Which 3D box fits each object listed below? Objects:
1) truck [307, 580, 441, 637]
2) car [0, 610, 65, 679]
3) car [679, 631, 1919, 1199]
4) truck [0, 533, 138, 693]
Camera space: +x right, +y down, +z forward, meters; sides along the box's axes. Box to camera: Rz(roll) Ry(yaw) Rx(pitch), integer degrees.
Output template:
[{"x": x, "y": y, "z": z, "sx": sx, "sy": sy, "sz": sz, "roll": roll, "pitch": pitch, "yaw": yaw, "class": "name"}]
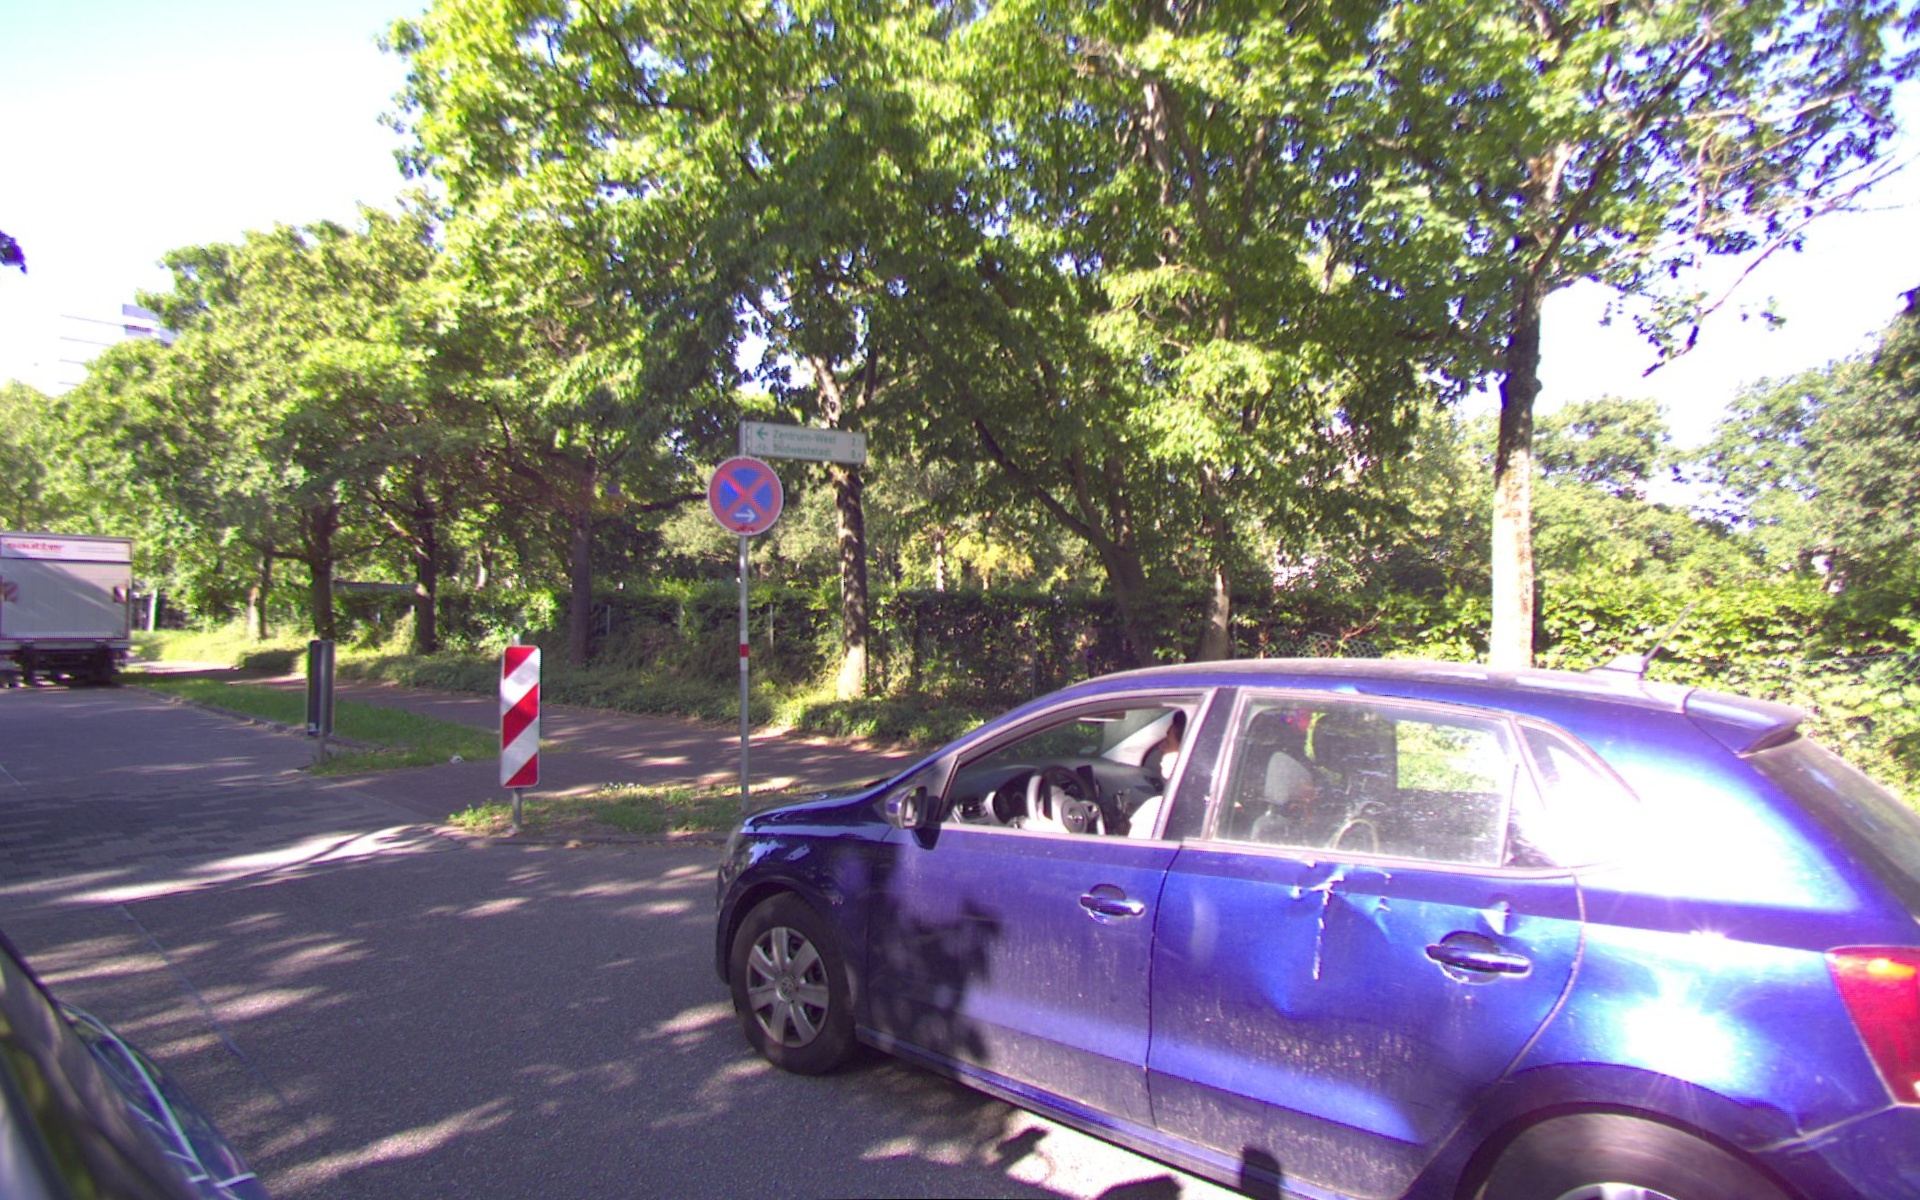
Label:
[{"x": -22.725, "y": 0.390, "z": 39.335, "sx": 2.203, "sy": 2.029, "sz": 3.946, "roll": -2, "pitch": -3, "yaw": 40, "class": "truck"}, {"x": -31.456, "y": 1.426, "z": 33.397, "sx": 6.582, "sy": 2.112, "sz": 2.097, "roll": -1, "pitch": -2, "yaw": 42, "class": "car"}, {"x": 0.866, "y": 0.830, "z": 3.116, "sx": 3.650, "sy": 1.437, "sz": 1.584, "roll": -2, "pitch": -4, "yaw": 41, "class": "car"}, {"x": -24.231, "y": 0.388, "z": 26.761, "sx": 8.100, "sy": 3.669, "sz": 2.705, "roll": -2, "pitch": -2, "yaw": 43, "class": "truck"}]
